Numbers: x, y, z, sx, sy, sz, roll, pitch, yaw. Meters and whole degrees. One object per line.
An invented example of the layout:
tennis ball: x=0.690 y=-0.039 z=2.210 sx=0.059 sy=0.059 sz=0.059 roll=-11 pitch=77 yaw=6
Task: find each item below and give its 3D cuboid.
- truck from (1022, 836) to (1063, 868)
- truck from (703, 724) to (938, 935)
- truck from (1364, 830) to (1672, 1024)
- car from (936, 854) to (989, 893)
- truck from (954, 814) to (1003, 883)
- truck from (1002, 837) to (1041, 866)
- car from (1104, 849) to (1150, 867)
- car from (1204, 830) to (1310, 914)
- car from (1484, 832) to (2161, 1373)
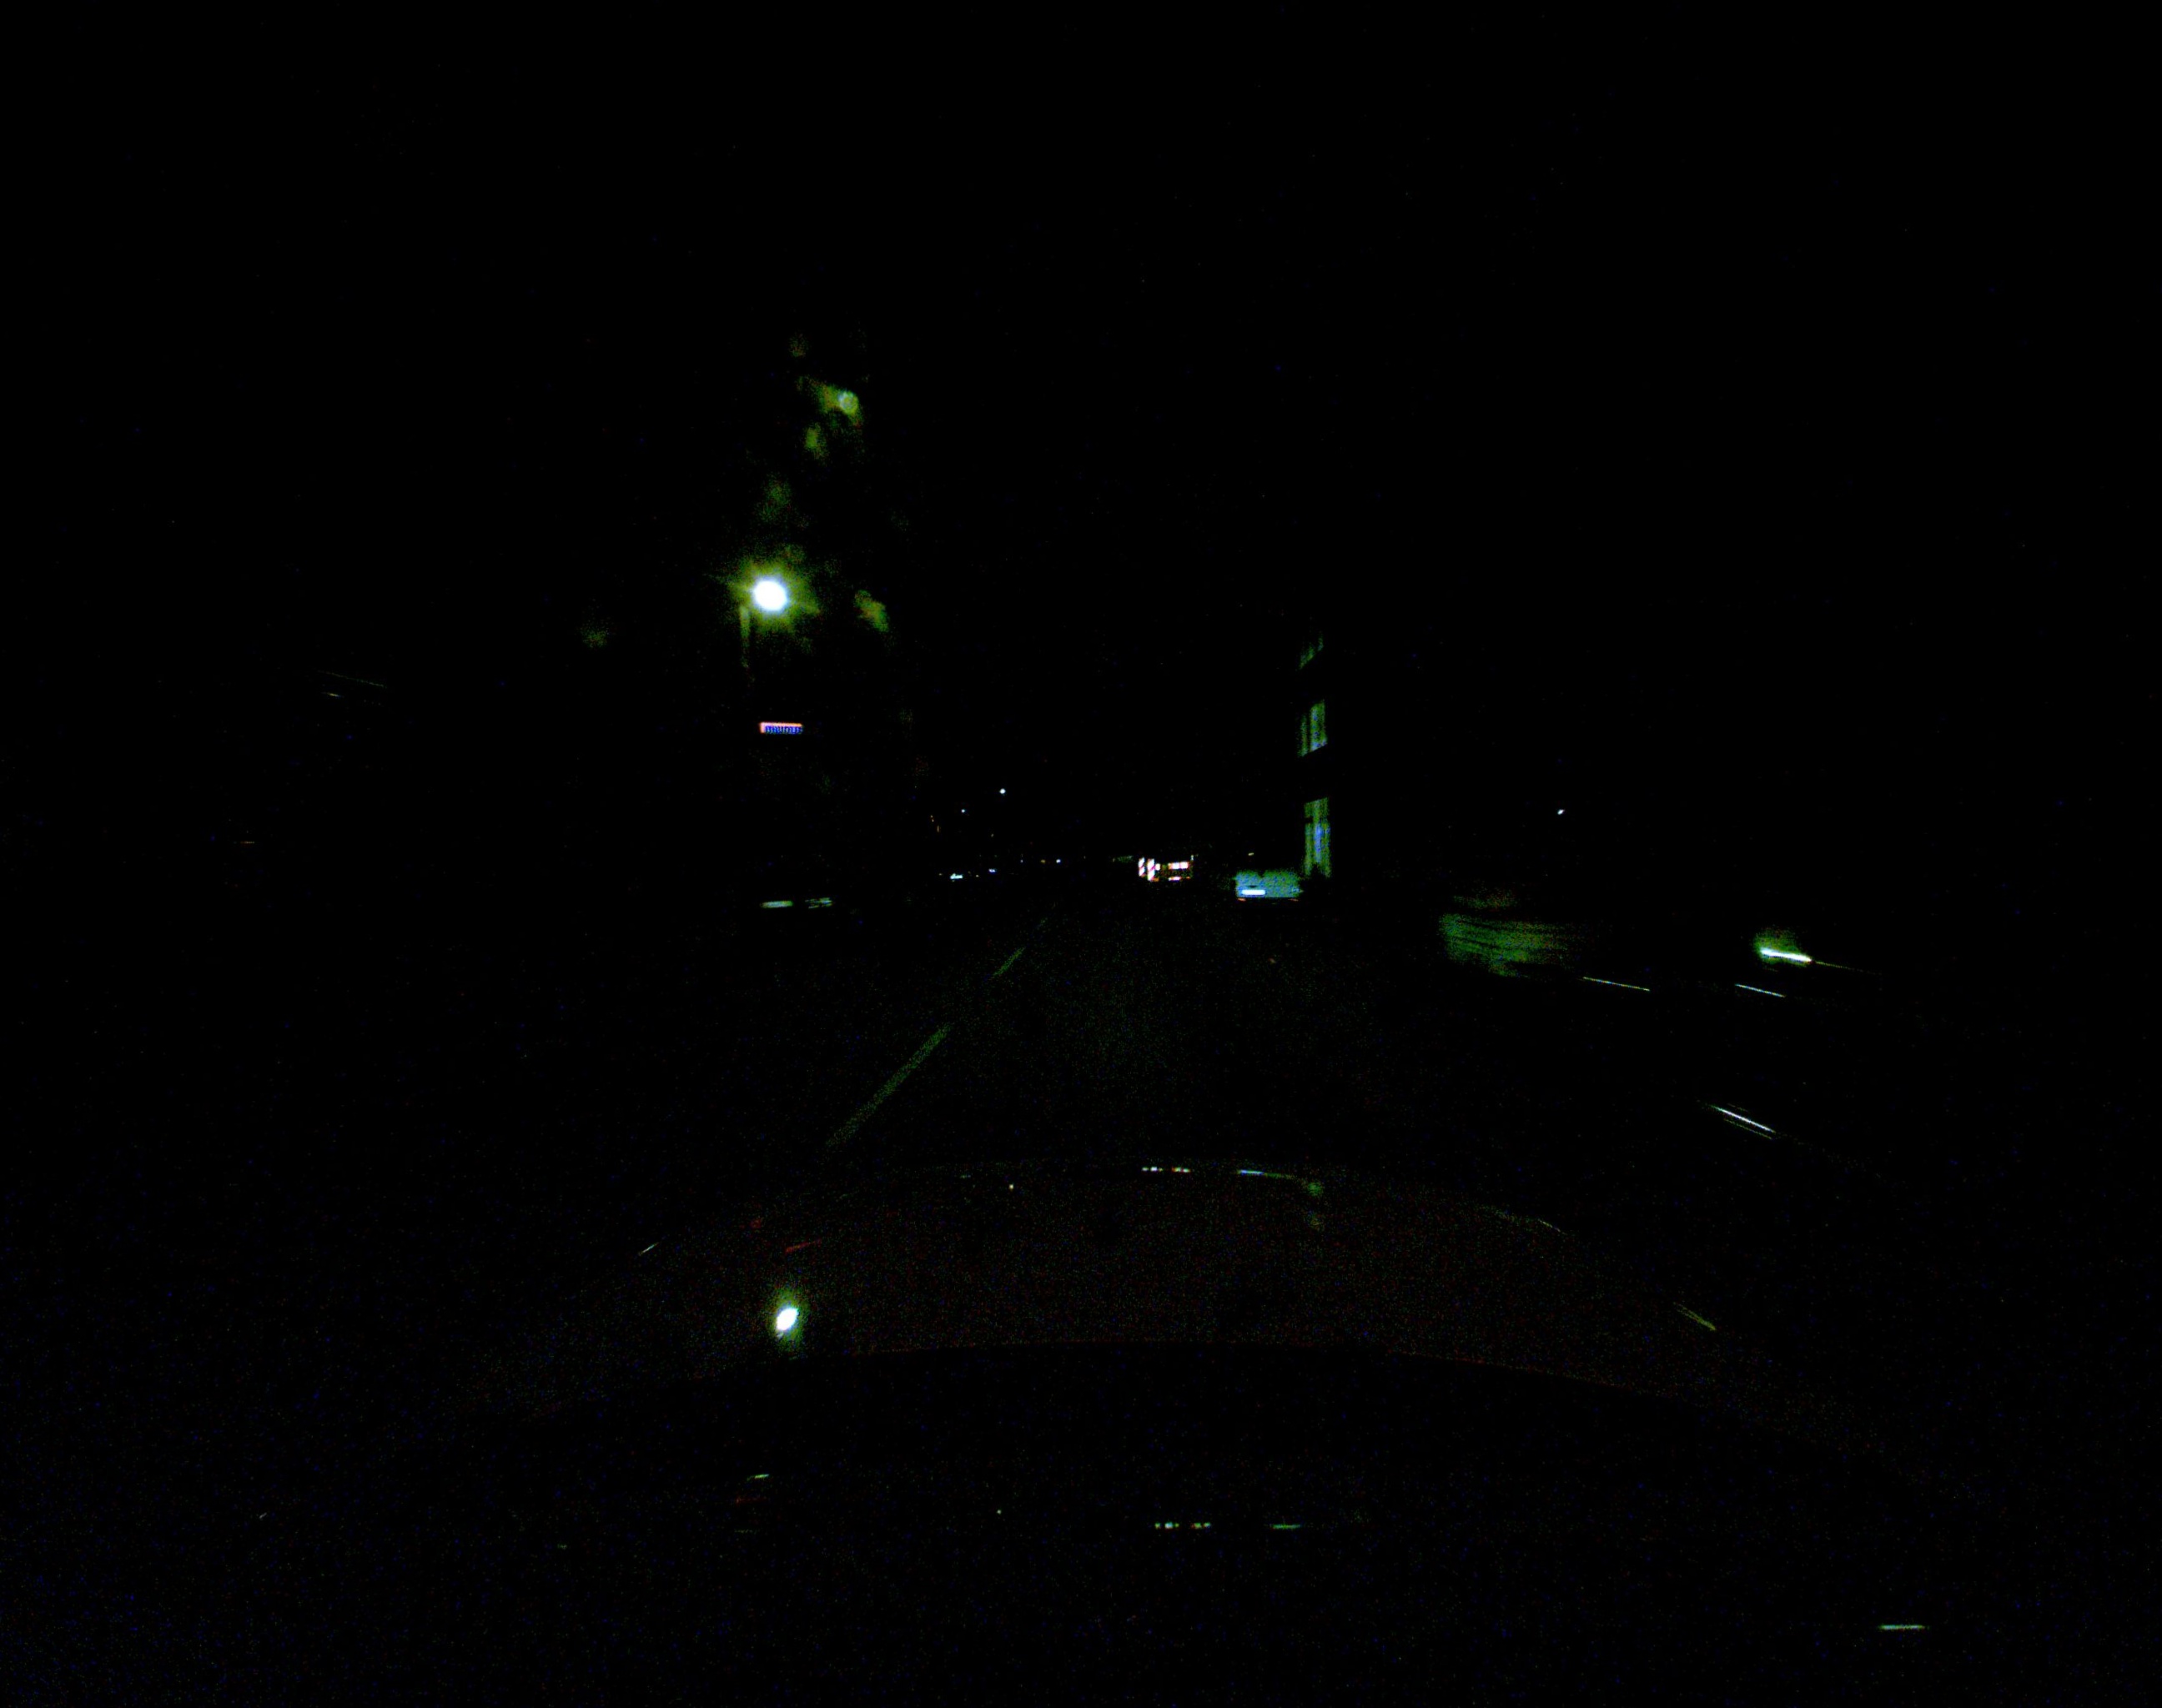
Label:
truck: x=-4.947 y=-0.224 z=102.278 sx=2.763 sy=3.783 sz=9.079 roll=-2 pitch=0 yaw=-19
truck: x=-5.900 y=-0.473 z=20.577 sx=2.737 sy=4.034 sz=9.560 roll=-1 pitch=0 yaw=0
truck: x=4.445 y=0.637 z=8.955 sx=1.365 sy=1.644 sz=3.813 roll=-1 pitch=0 yaw=1
car: x=-5.631 y=0.884 z=39.238 sx=1.939 sy=1.717 sz=5.194 roll=-2 pitch=0 yaw=-2
truck: x=-6.637 y=-0.314 z=53.863 sx=2.768 sy=4.120 sz=9.324 roll=-2 pitch=0 yaw=-5
truck: x=-8.235 y=-0.286 z=111.998 sx=2.764 sy=3.783 sz=10.159 roll=-2 pitch=0 yaw=-19
car: x=4.778 y=0.402 z=85.135 sx=4.341 sy=1.646 sz=1.879 roll=-4 pitch=1 yaw=-20
car: x=4.722 y=0.443 z=22.614 sx=1.986 sy=2.013 sz=4.914 roll=-2 pitch=0 yaw=2
car: x=3.976 y=0.669 z=3.600 sx=1.940 sy=1.489 sz=5.011 roll=-1 pitch=0 yaw=1
